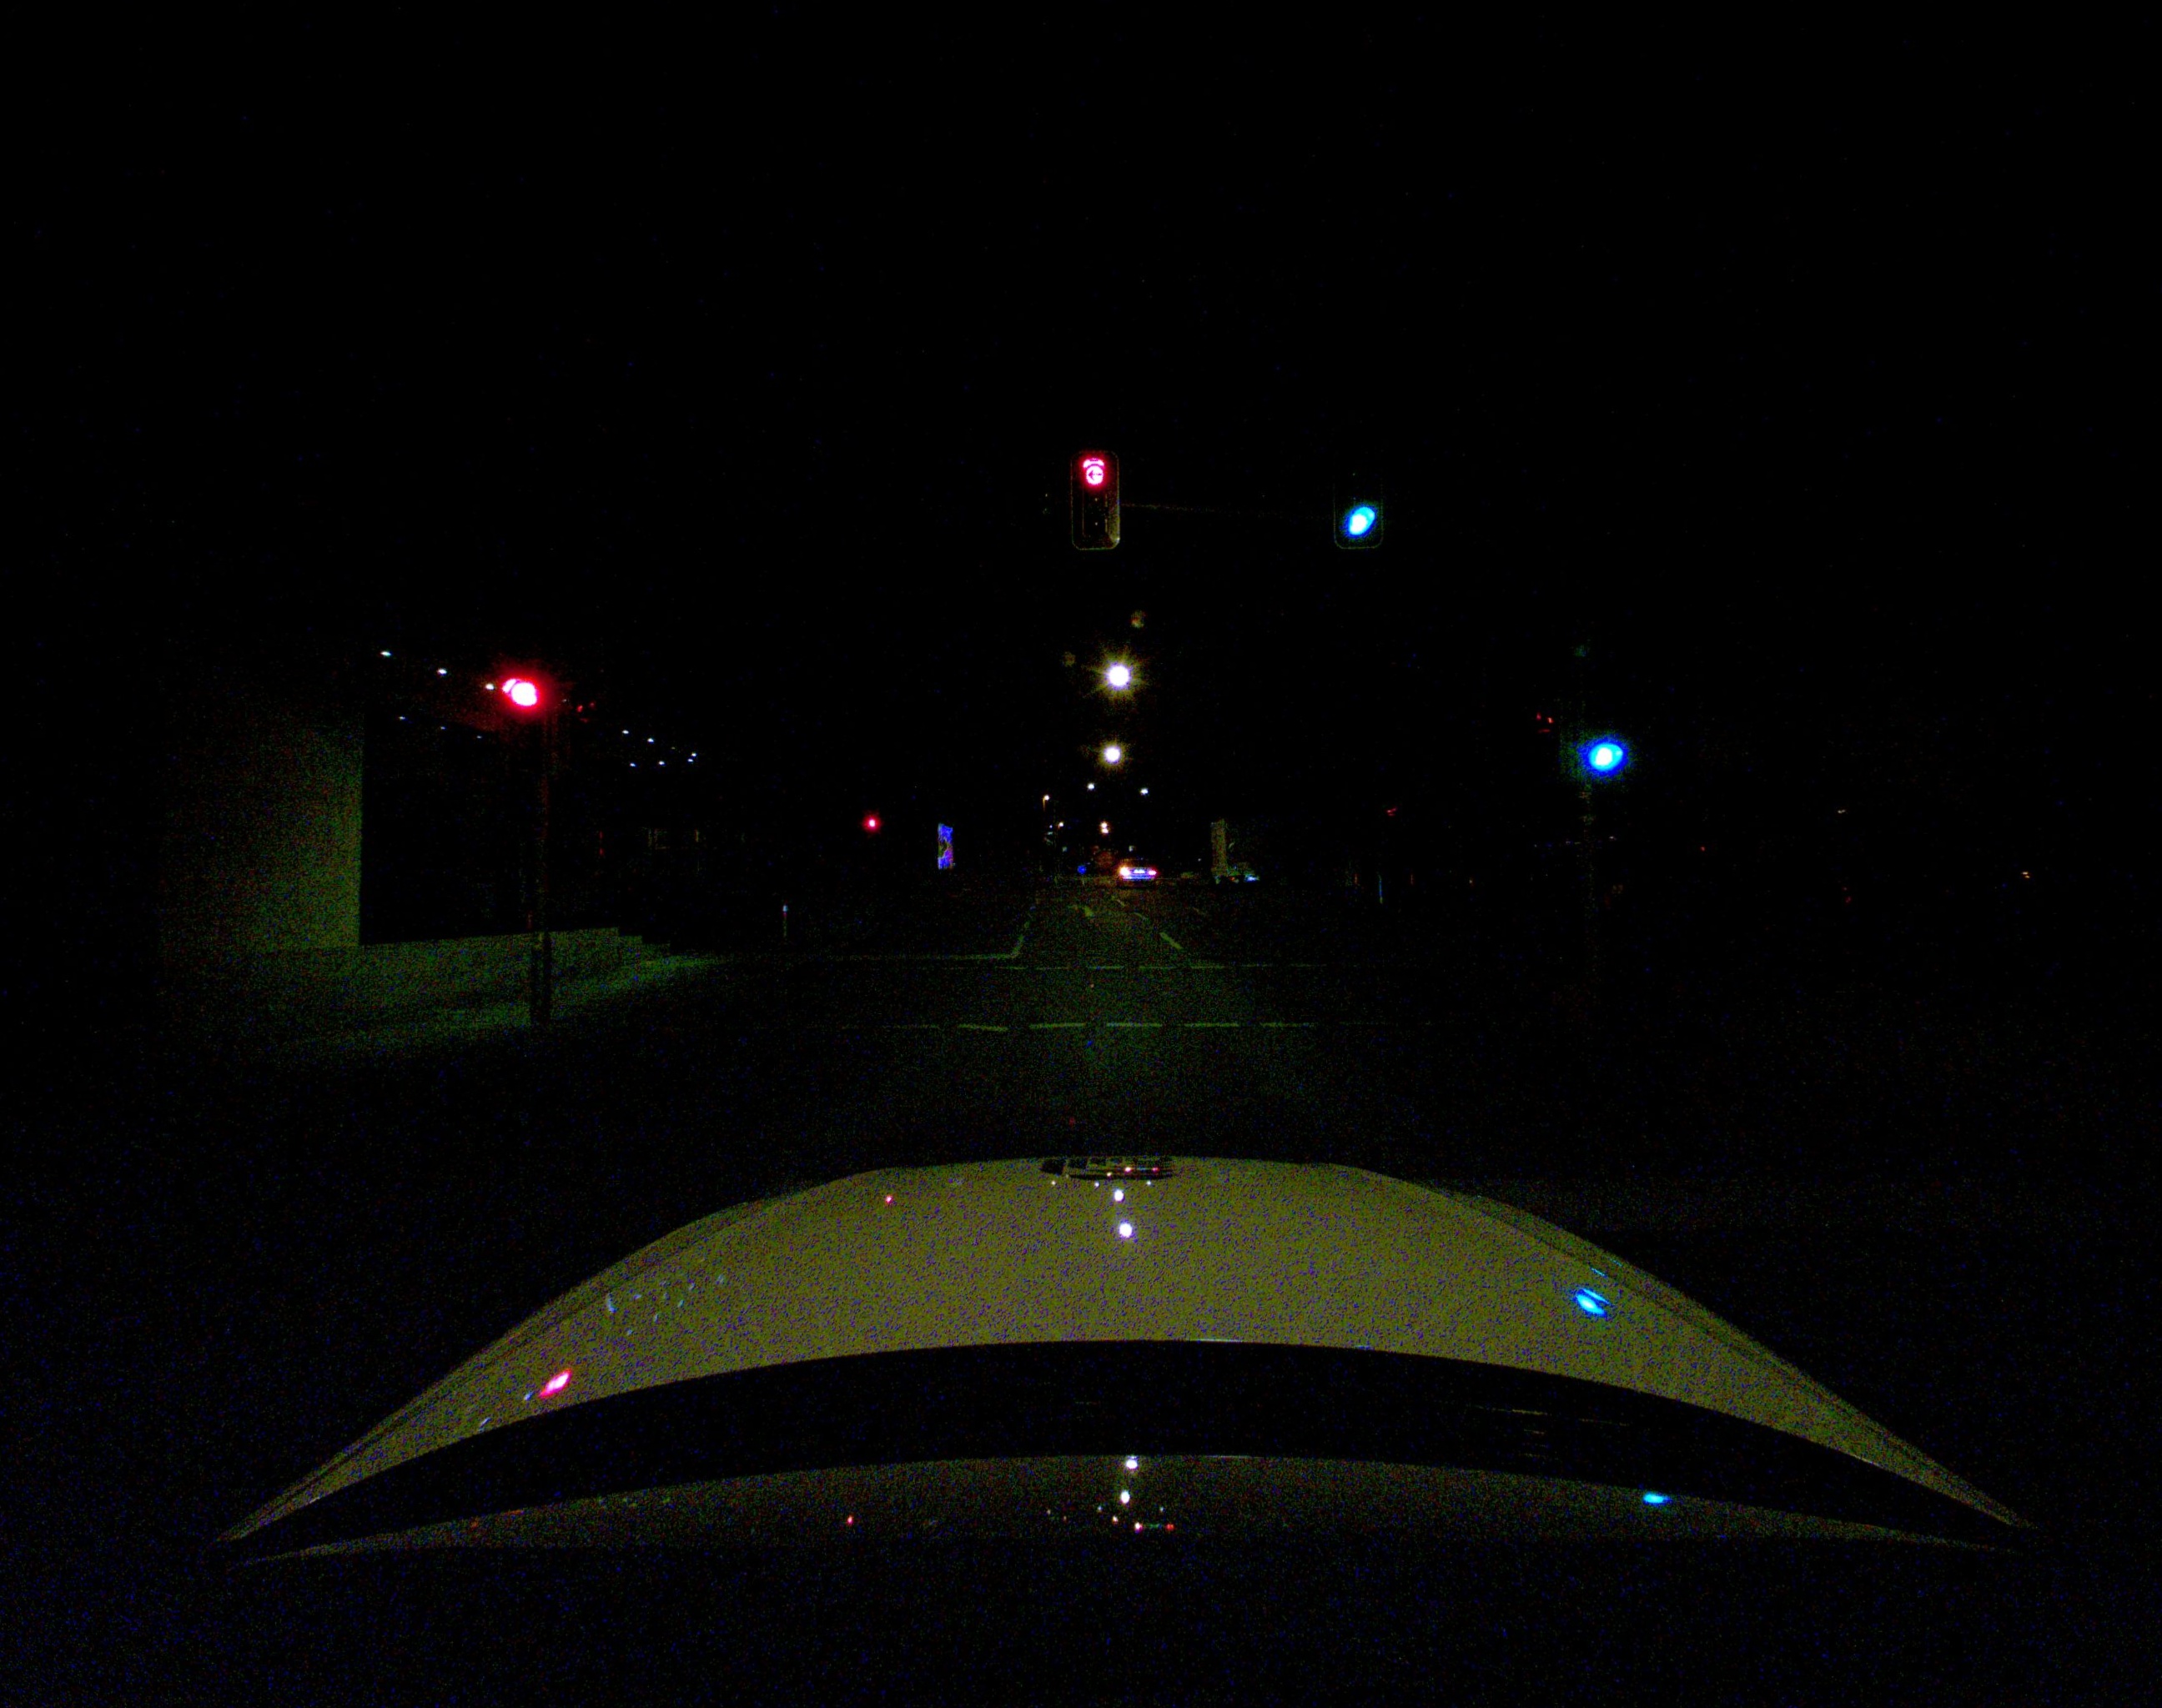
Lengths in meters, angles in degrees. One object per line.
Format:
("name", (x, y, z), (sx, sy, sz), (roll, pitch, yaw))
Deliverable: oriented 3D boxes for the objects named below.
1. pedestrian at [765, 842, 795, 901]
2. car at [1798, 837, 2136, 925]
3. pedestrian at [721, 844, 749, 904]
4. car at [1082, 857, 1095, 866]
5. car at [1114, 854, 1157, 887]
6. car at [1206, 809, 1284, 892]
("pedestrian", (-9.129, 0.525, 24.748), (0.568, 1.778, 0.737), (1, -1, 1))
("car", (17.457, 0.570, 16.287), (4.342, 1.560, 1.807), (-2, -3, 8))
("pedestrian", (-10.192, 0.586, 23.988), (0.568, 1.731, 0.544), (0, -1, 1))
("car", (1.257, 1.209, 134.537), (1.901, 1.557, 3.906), (0, -1, 2))
("car", (2.574, 0.789, 39.335), (1.770, 1.486, 3.999), (0, -1, 0))
("car", (6.762, -0.101, 34.218), (2.287, 3.093, 5.845), (-2, -1, 3))
